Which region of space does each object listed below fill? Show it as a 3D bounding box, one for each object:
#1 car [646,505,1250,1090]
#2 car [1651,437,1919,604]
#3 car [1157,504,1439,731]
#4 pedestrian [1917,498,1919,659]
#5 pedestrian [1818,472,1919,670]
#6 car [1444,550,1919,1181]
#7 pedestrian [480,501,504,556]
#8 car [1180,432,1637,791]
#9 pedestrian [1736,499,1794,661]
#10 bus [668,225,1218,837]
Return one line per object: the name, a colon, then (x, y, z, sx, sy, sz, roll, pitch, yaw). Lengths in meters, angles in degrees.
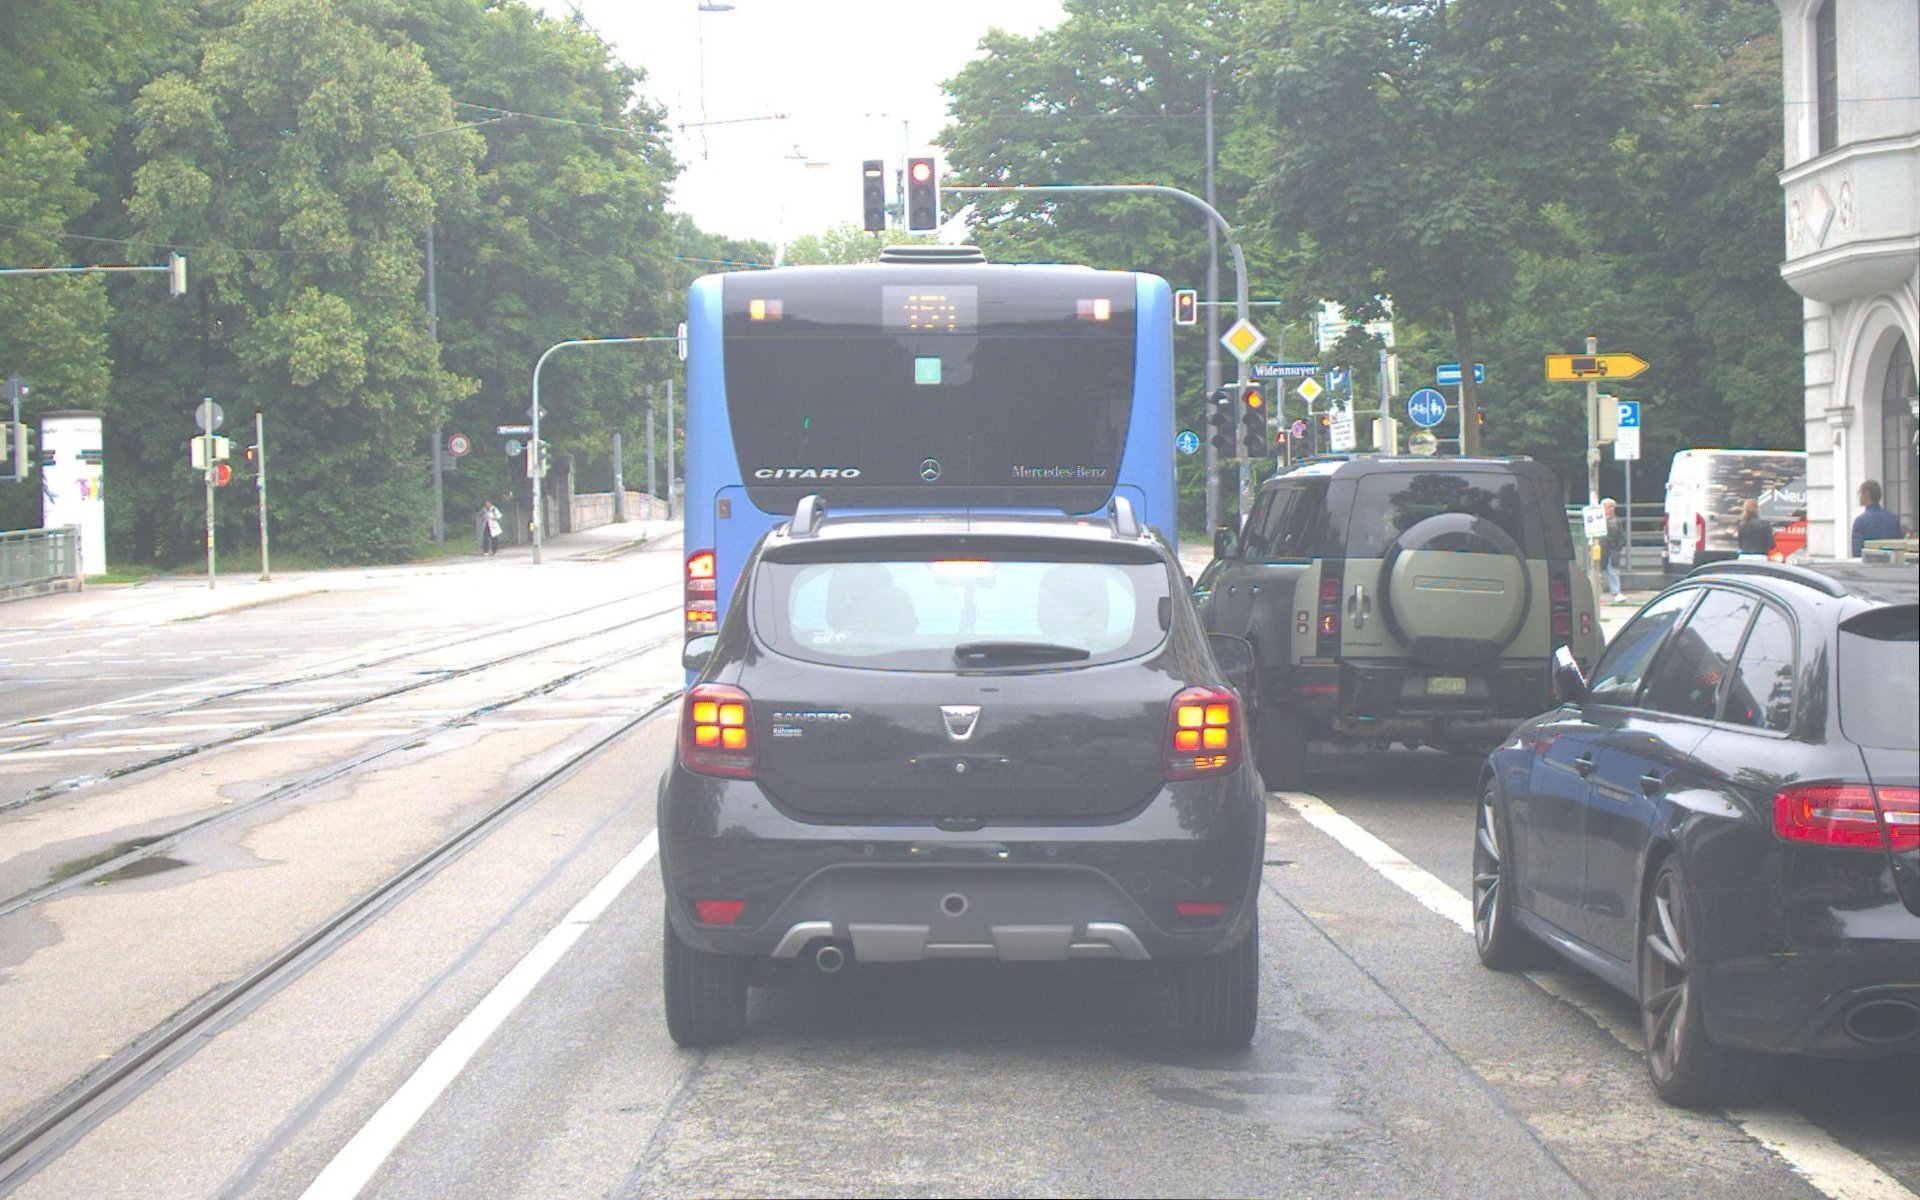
car: (-0.058, 0.502, 10.995, 1.600, 1.551, 3.525, 1, 1, -1)
car: (14.116, -1.269, 55.698, 5.295, 2.603, 2.231, 1, 1, -3)
car: (2.527, 0.087, 26.587, 1.714, 1.586, 4.327, 1, 1, 0)
pedestrian: (9.390, -0.302, 31.981, 0.705, 1.726, 0.843, 1, 1, 0)
pedestrian: (8.484, -0.270, 32.065, 0.705, 1.810, 0.870, 1, 1, 0)
car: (2.655, 0.582, 10.142, 1.716, 1.421, 4.602, 1, 1, -1)
pedestrian: (-12.769, -1.945, 93.816, 0.532, 1.496, 0.588, 1, 1, 4)
car: (2.559, 0.020, 20.828, 1.914, 1.899, 4.808, 1, 1, -2)
pedestrian: (10.135, -0.254, 43.284, 0.673, 2.007, 0.716, 1, 1, 14)
bus: (-0.212, -0.396, 20.477, 2.678, 2.987, 6.962, 1, 1, -2)
